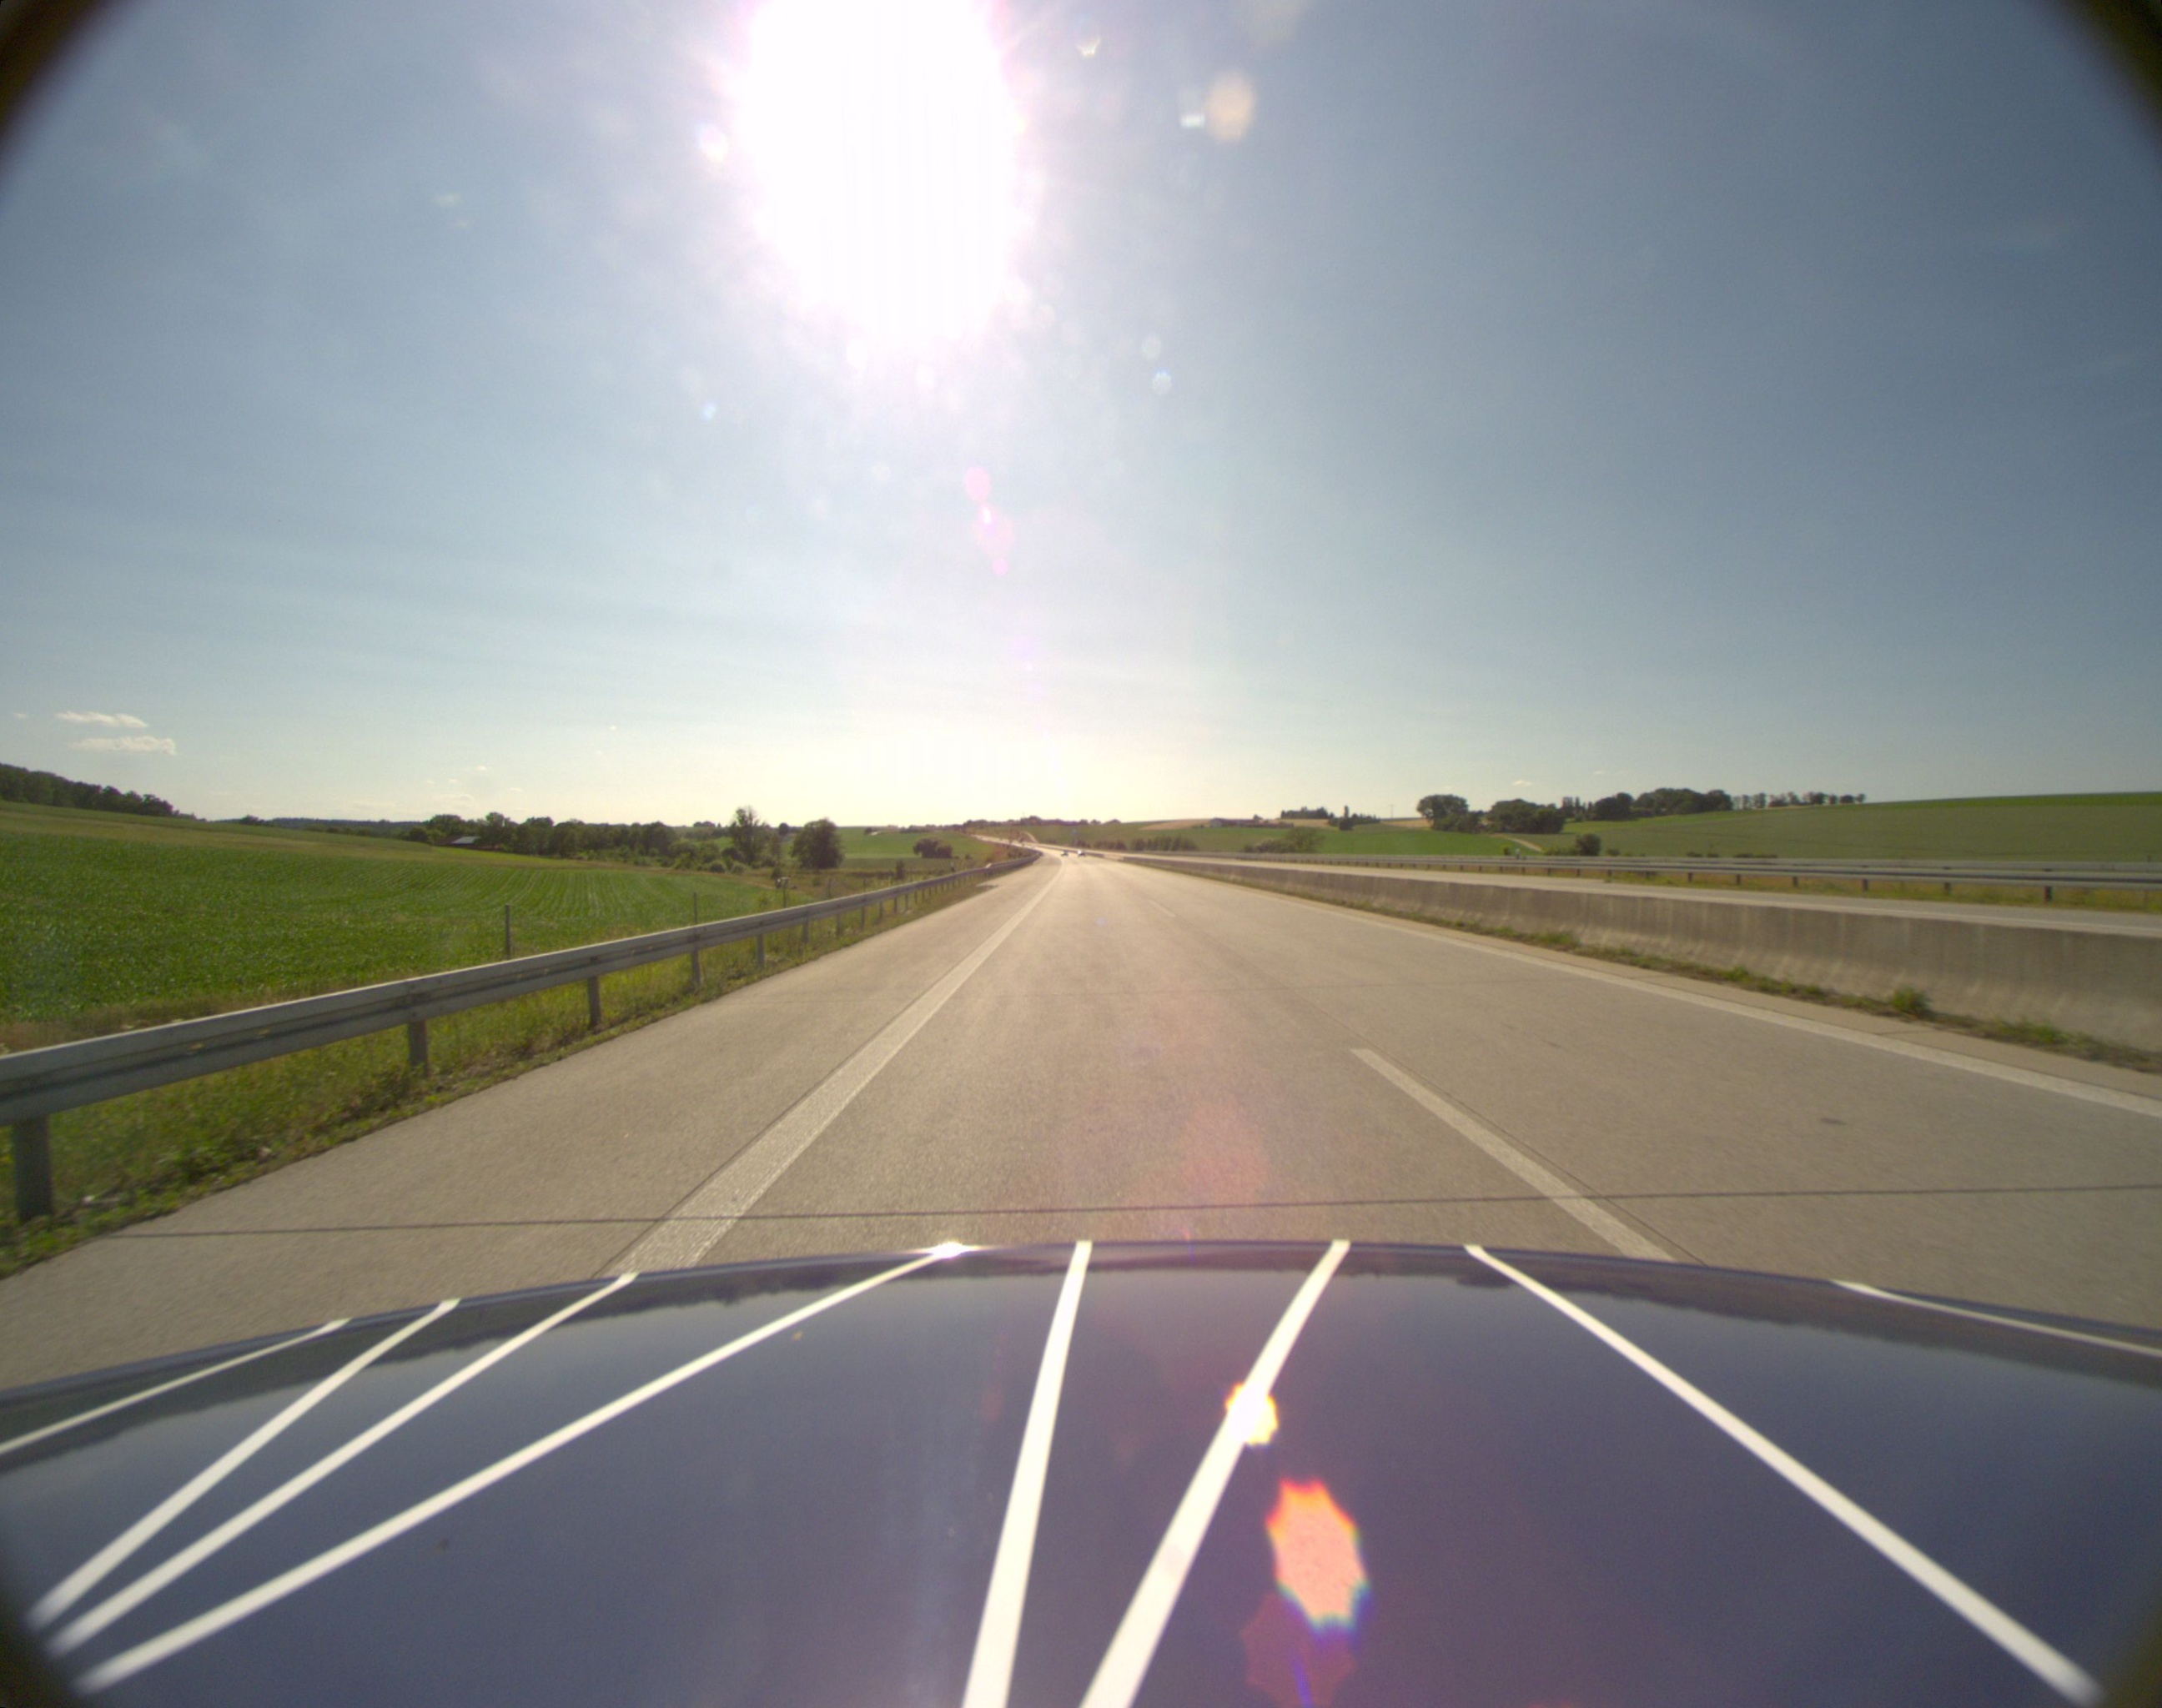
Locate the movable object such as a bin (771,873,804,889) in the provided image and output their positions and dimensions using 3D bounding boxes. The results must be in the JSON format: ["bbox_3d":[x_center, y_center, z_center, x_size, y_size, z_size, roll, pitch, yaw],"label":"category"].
[{"bbox_3d":[-59.311,5.394,153.425,6.214,2.756,3.292,0,3,38],"label":"movable object such as a bin"}]

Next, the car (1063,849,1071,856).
[{"bbox_3d":[-3.751,-0.485,199.854,1.715,1.581,4.624,-2,2,-3],"label":"car"}]
